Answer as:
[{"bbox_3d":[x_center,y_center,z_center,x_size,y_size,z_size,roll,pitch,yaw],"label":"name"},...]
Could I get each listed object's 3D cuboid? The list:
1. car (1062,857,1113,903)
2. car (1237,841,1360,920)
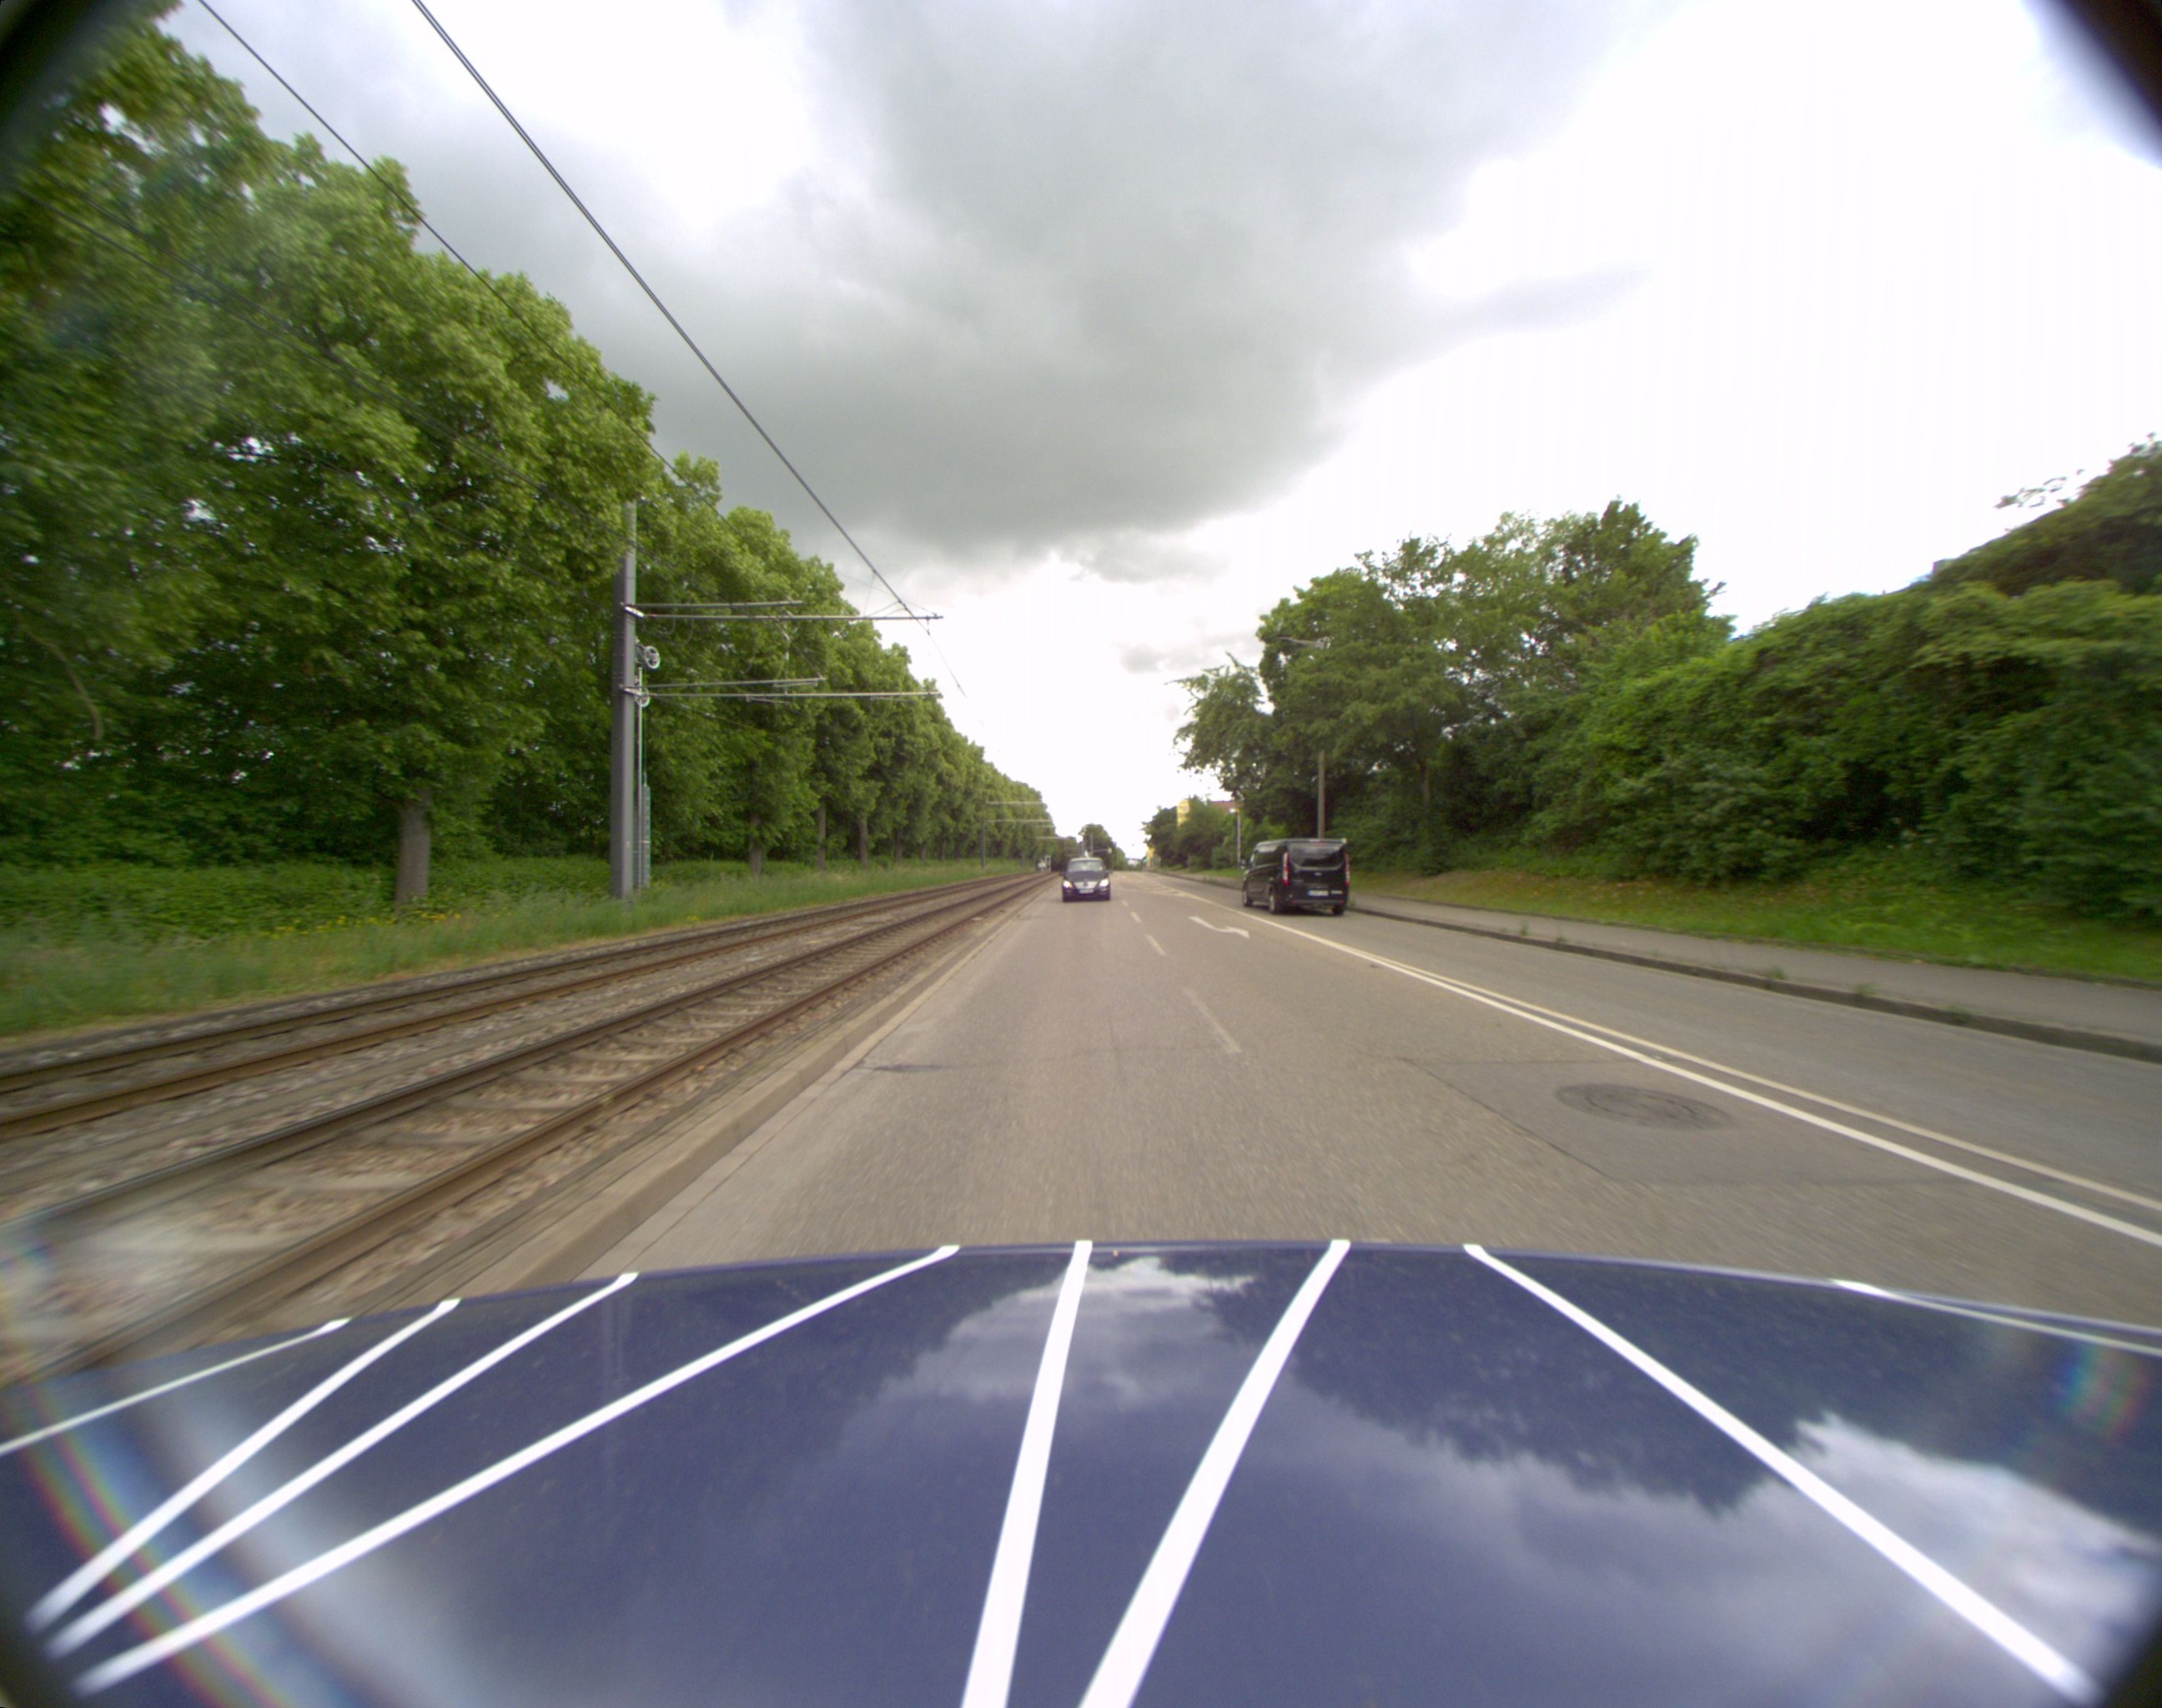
[{"bbox_3d":[0.307,0.933,28.937,1.749,1.558,4.122,-2,0,2],"label":"car"},{"bbox_3d":[6.147,0.691,22.156,1.999,2.024,5.115,1,0,-1],"label":"car"}]
